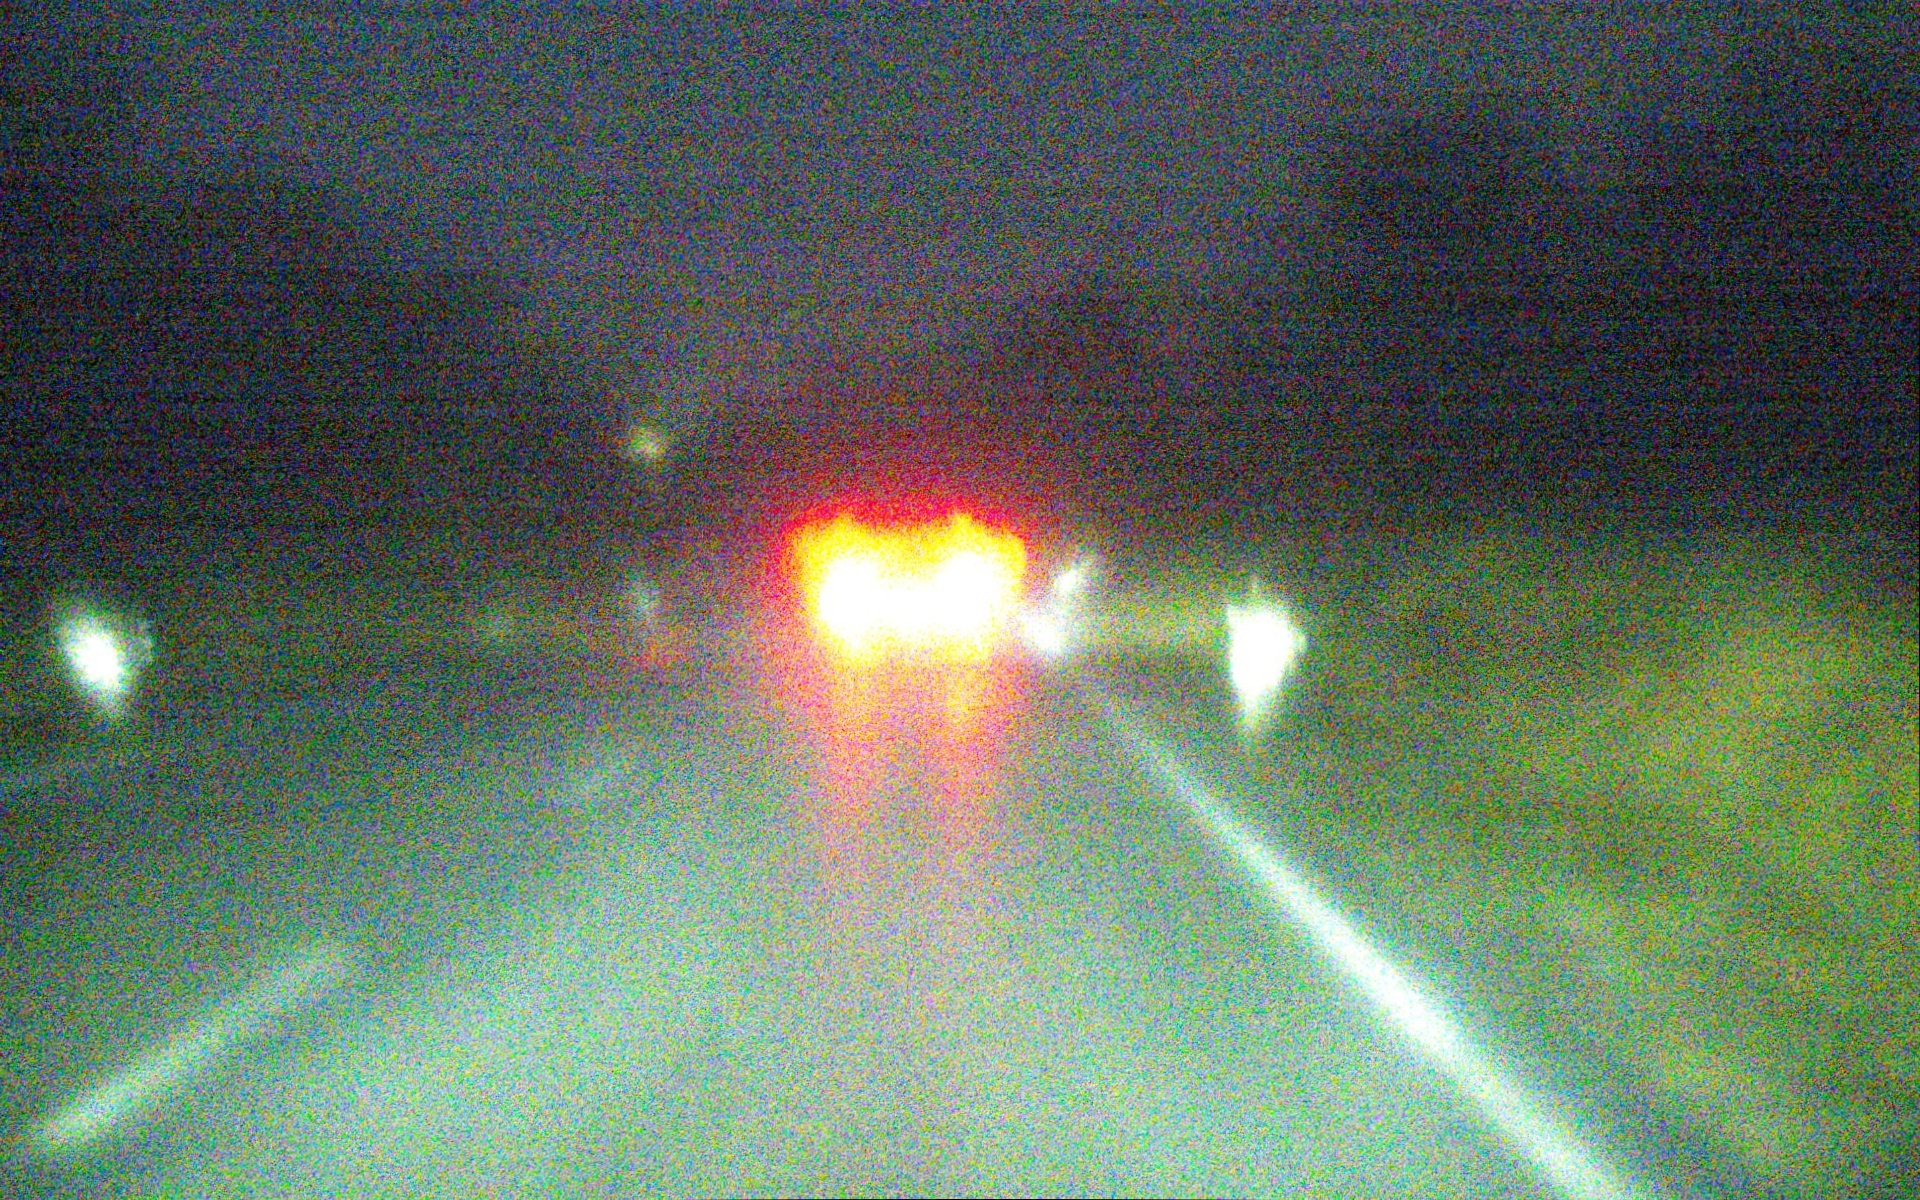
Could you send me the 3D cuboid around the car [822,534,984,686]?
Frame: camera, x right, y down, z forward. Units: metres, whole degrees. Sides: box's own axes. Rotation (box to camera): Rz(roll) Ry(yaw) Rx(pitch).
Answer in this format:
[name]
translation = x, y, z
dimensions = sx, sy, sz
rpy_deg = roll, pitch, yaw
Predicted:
[car]
translation = -0.664, 0.076, 41.378
dimensions = 1.842, 1.734, 4.000
rpy_deg = 0, 1, 0
